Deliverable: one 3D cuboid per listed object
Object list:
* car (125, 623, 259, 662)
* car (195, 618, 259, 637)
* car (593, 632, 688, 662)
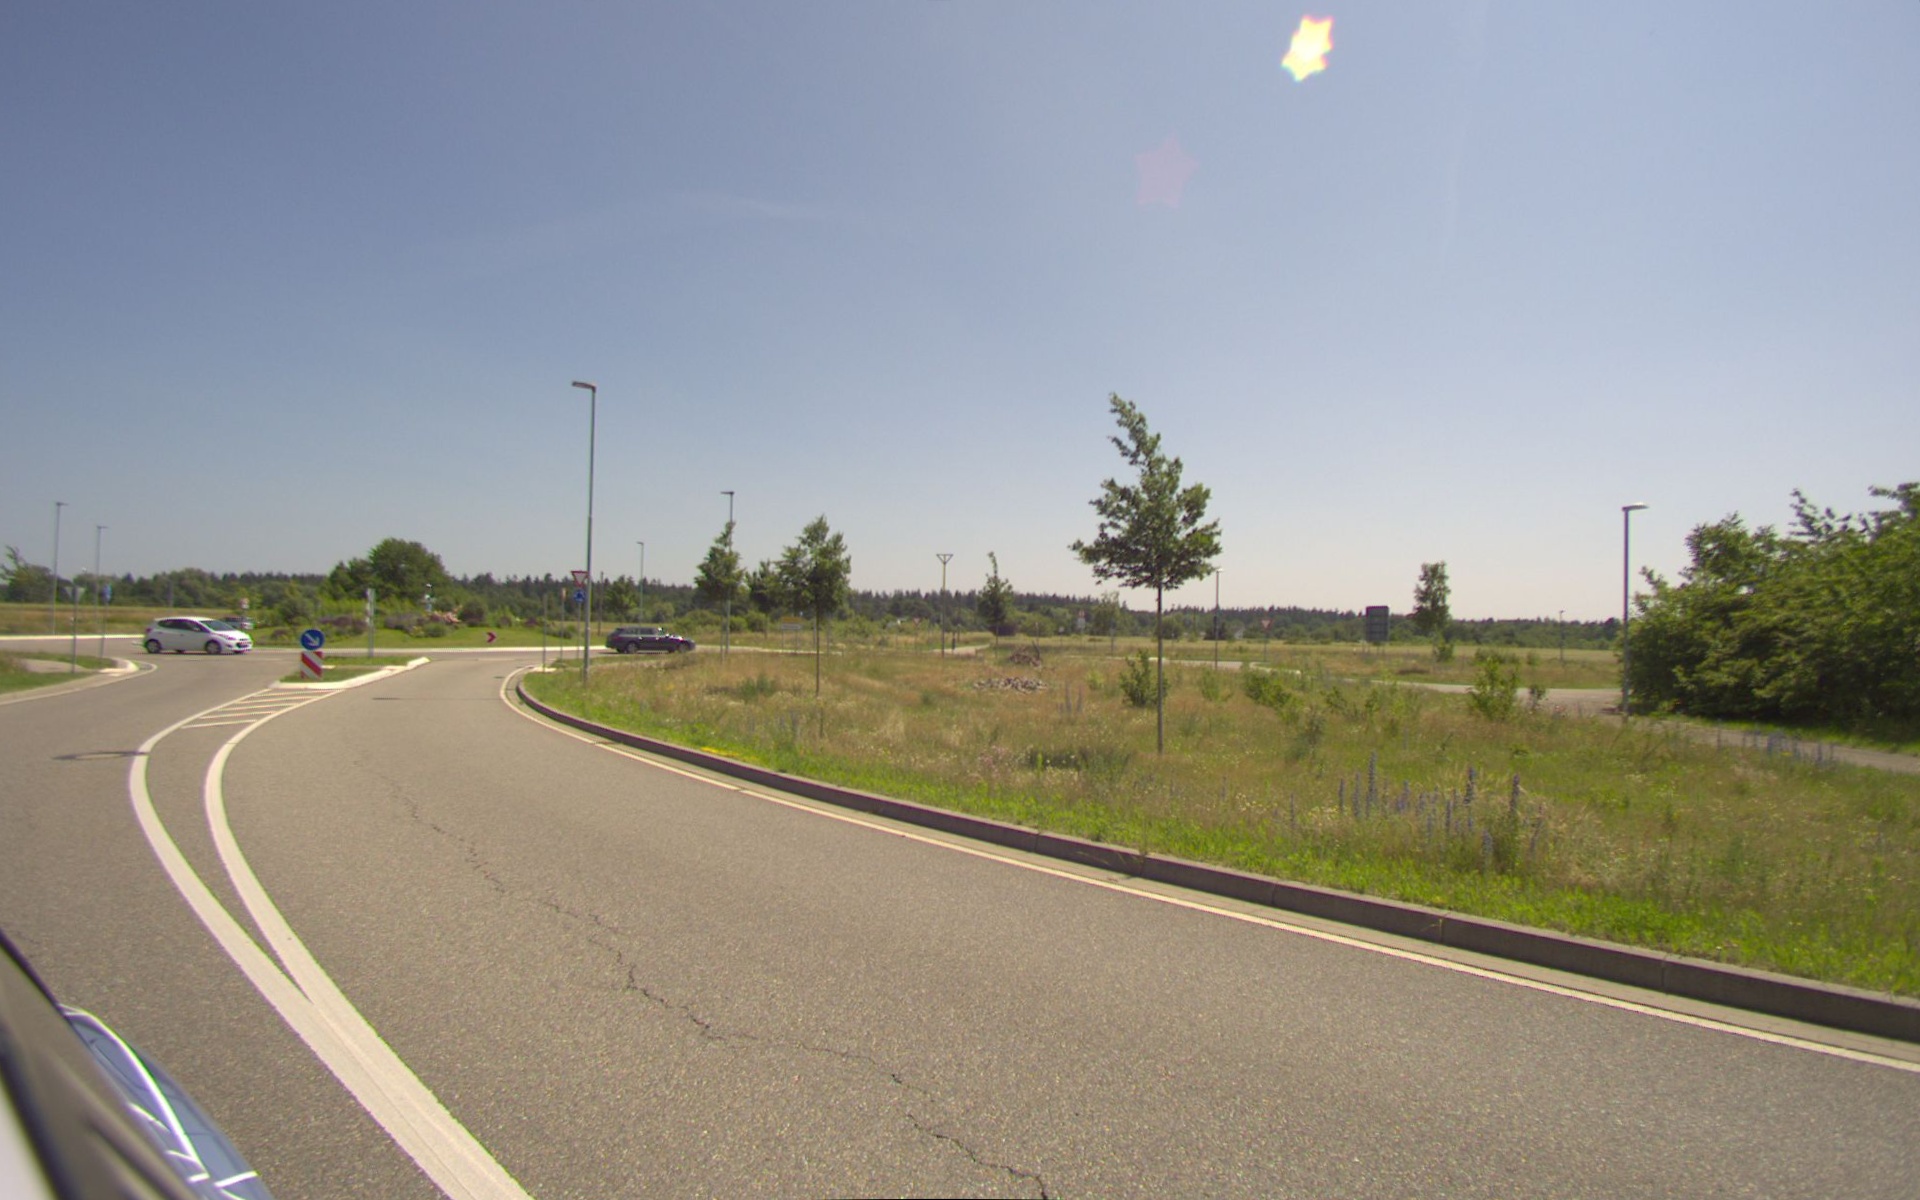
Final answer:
[{"bbox_3d":[-33.858,1.864,44.700,4.457,1.573,1.869,2,-1,0],"label":"car"},{"bbox_3d":[-62.533,2.385,86.344,3.942,1.497,2.000,1,-2,-1],"label":"car"},{"bbox_3d":[-16.903,2.482,53.631,4.447,1.445,1.874,2,0,-37],"label":"car"}]
